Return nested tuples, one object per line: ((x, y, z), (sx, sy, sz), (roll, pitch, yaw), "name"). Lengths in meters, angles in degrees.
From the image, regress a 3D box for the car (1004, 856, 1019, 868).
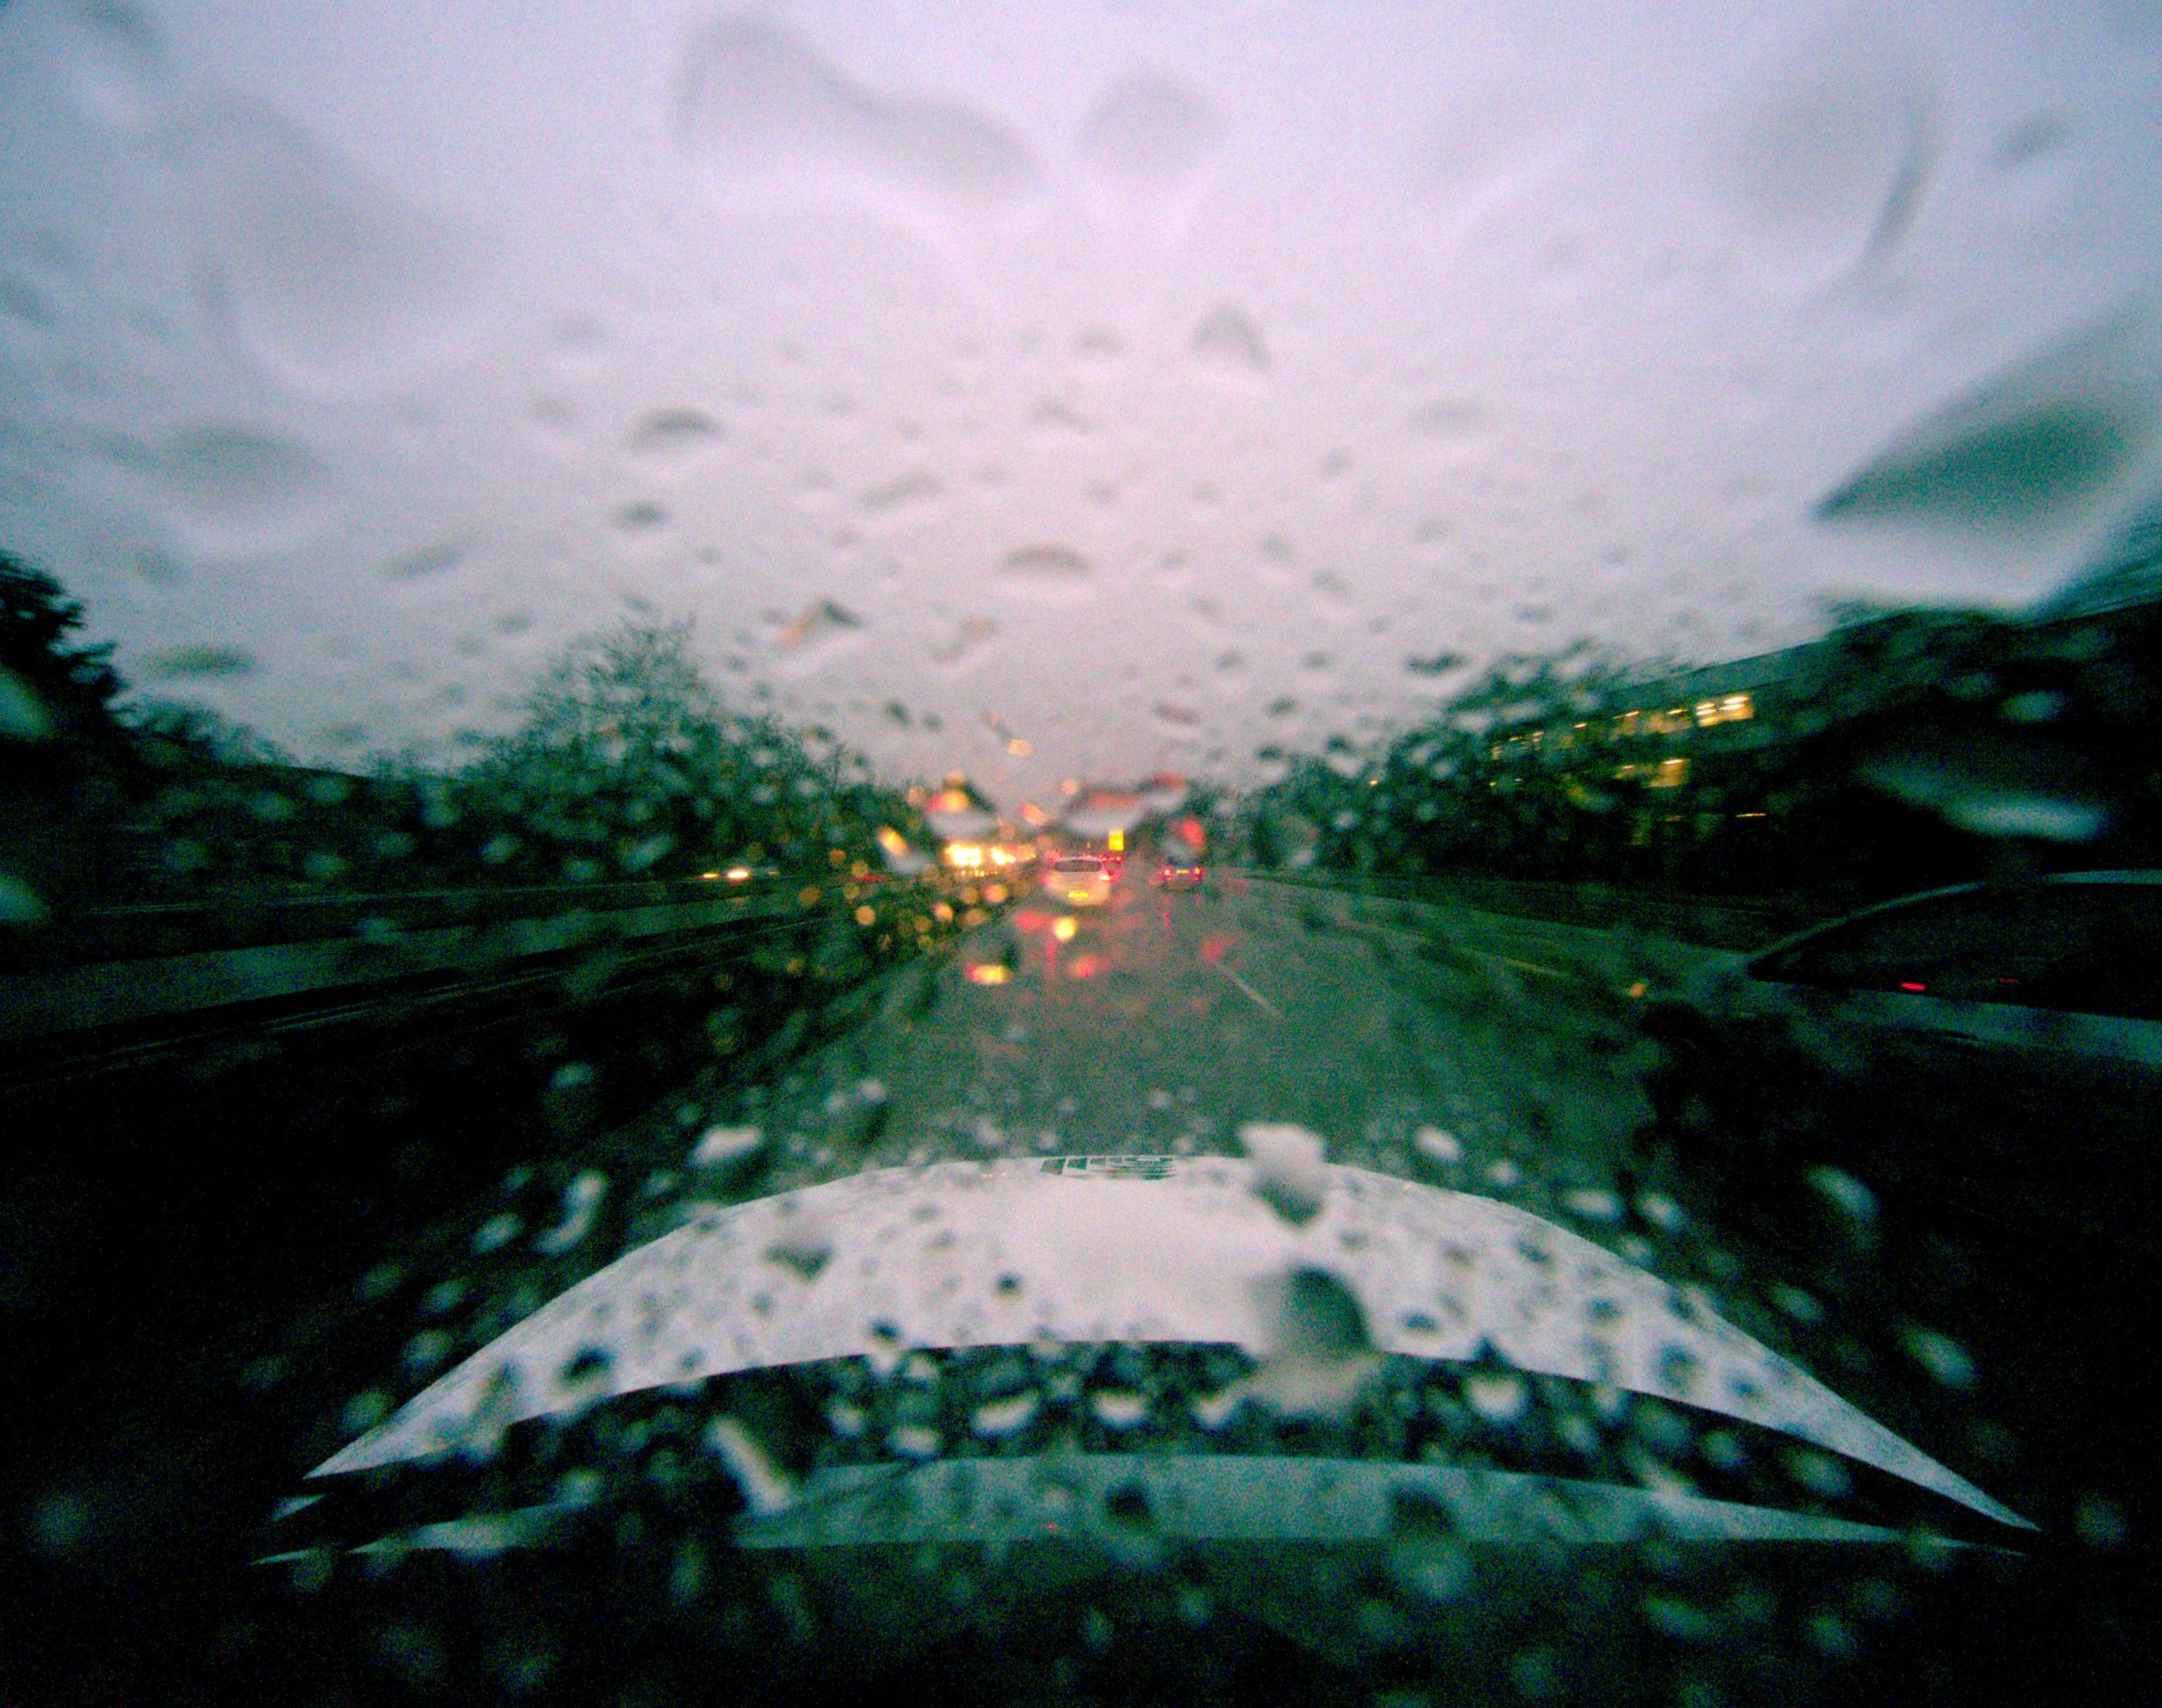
((-8.707, 1.010, 101.823), (1.612, 1.484, 4.596), (0, 0, -2), "car")

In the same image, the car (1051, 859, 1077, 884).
((-1.378, 1.408, 66.965), (1.988, 2.014, 3.998), (0, 0, -1), "car")

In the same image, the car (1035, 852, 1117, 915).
((-0.048, 0.750, 22.471), (2.016, 1.575, 4.003), (0, 0, 3), "car")

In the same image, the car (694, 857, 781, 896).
((-17.736, 1.097, 42.309), (1.981, 1.913, 4.458), (0, 0, 10), "car")

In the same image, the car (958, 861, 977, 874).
((-13.495, 1.589, 97.350), (1.699, 1.566, 4.847), (0, 0, -2), "car")

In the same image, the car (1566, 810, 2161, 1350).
((3.936, 0.626, 2.972), (1.843, 1.501, 4.263), (0, 0, 1), "car")

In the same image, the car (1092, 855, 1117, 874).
((2.211, 1.042, 76.717), (1.929, 1.546, 3.769), (-6, -1, -3), "car")

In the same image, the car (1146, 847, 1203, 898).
((3.872, 0.754, 34.281), (1.927, 2.019, 3.772), (0, 0, -1), "car")
